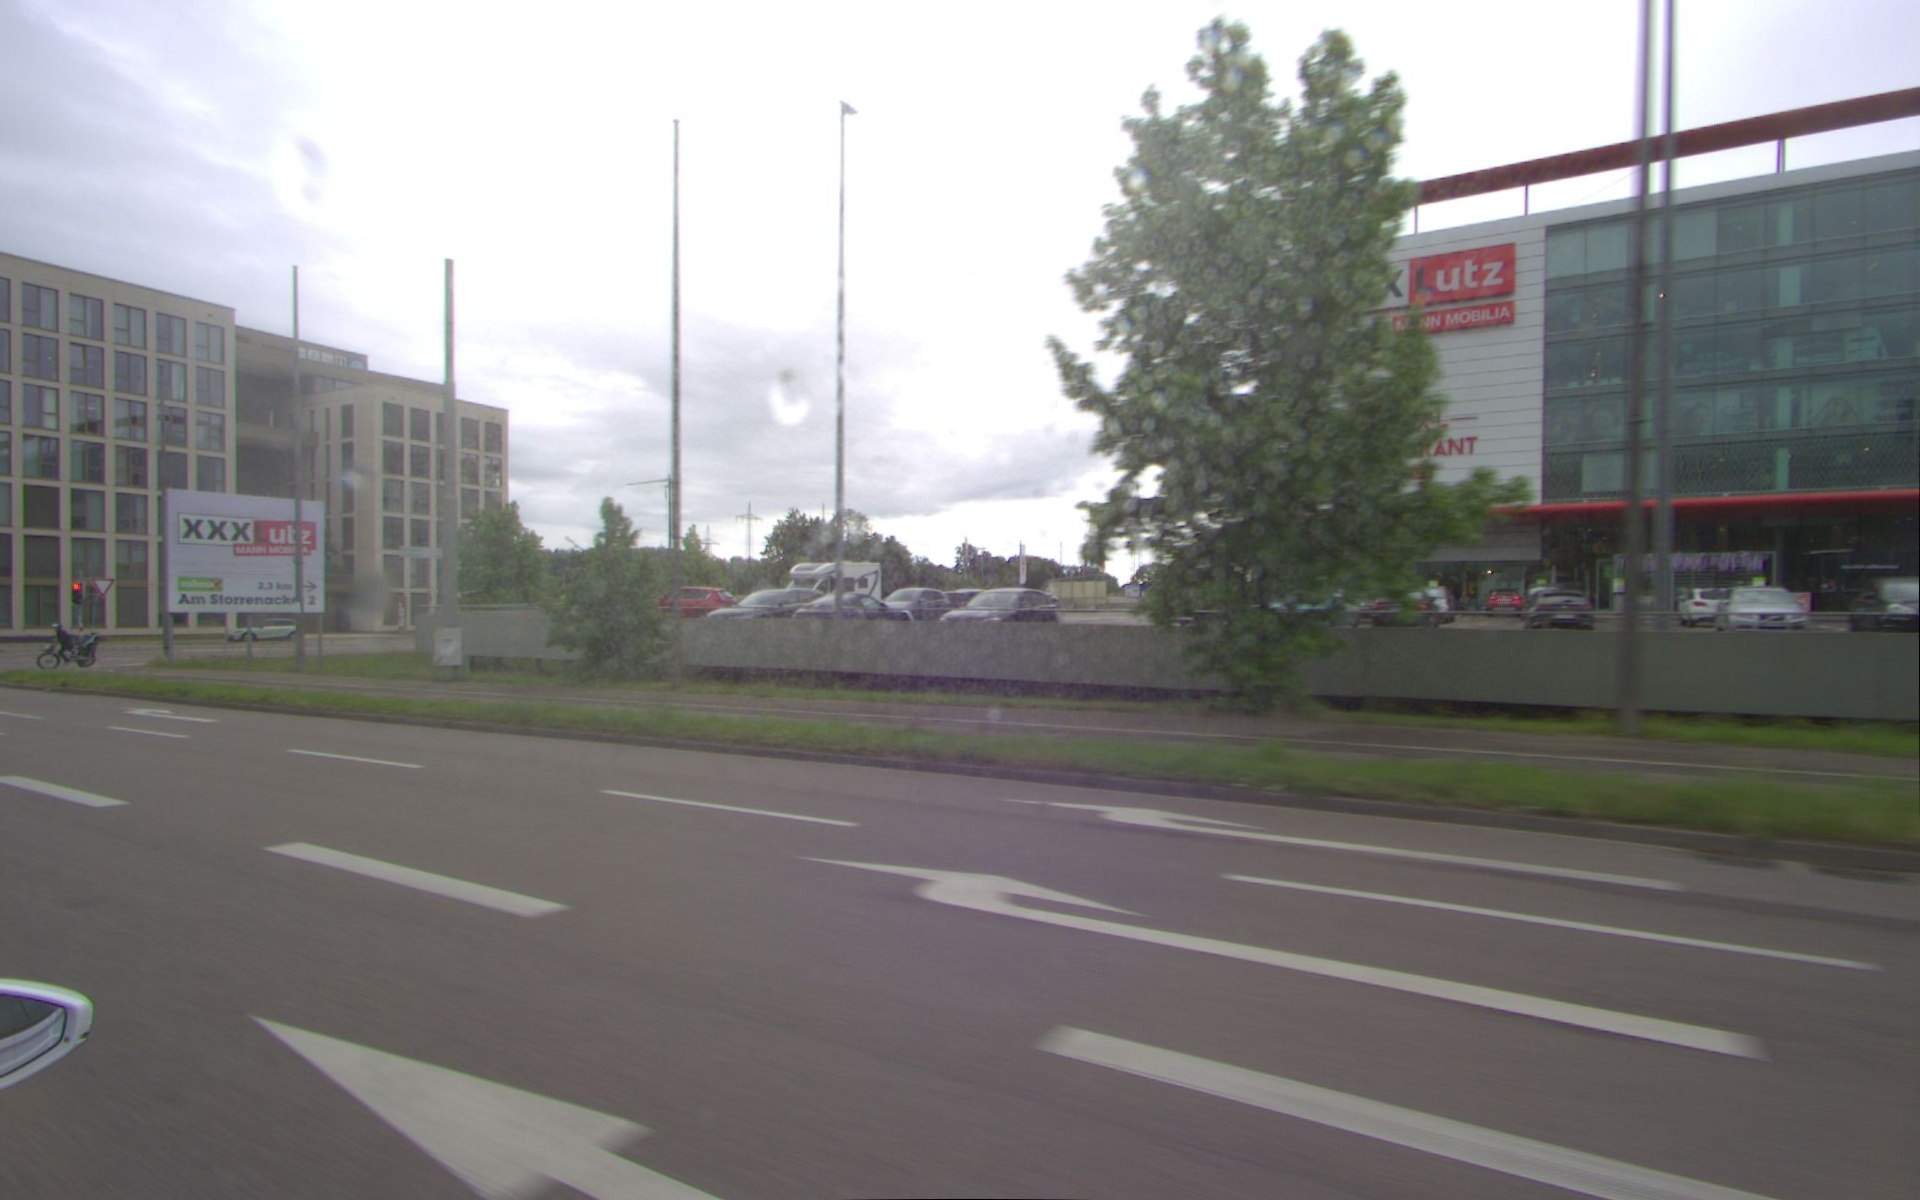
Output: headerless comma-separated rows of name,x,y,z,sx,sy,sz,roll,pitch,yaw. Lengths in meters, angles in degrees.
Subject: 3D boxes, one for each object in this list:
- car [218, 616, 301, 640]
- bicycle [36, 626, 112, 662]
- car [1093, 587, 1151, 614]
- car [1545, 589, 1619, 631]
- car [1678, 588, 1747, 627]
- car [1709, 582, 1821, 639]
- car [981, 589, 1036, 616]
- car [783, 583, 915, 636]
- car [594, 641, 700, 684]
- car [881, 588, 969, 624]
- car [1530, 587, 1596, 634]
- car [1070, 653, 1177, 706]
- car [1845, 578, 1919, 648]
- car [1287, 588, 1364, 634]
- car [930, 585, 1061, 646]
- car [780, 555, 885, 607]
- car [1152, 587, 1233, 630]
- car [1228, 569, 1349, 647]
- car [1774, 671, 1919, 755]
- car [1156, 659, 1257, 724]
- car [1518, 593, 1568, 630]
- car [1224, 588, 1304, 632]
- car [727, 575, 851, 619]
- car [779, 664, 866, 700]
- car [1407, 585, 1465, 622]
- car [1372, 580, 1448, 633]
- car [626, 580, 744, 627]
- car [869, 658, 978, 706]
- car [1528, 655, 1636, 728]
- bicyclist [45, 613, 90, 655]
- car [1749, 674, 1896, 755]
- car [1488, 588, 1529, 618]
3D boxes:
car,-45.906,1.828,65.691,1.669,1.510,4.186,2,0,32
bicycle,-32.574,1.617,36.844,1.974,1.312,0.701,1,-1,-13
car,12.315,0.053,76.094,3.937,1.884,1.897,2,0,28
car,25.541,0.377,41.242,1.775,1.602,3.812,2,1,20
car,28.716,0.307,38.298,1.676,1.412,3.680,2,0,31
car,23.769,0.331,29.720,1.819,1.539,4.225,2,0,29
car,3.099,0.192,63.649,1.839,1.598,3.981,0,-2,31
car,-3.045,0.283,28.227,1.694,1.369,3.919,1,0,30
car,-15.944,3.139,50.971,5.034,2.039,2.452,-1,-2,32
car,-1.347,0.259,40.233,1.725,1.333,4.105,2,0,28
car,19.299,0.358,31.971,1.676,1.374,3.625,2,0,33
car,4.886,2.277,29.464,1.738,1.367,4.049,-1,-2,31
car,23.715,0.347,24.770,1.971,1.613,4.359,2,1,32
car,13.200,0.393,36.031,1.758,1.528,3.835,1,0,33
car,0.978,0.390,25.177,1.694,1.402,3.869,2,0,29
car,-6.043,-0.865,48.036,2.135,2.240,4.999,2,0,35
car,8.955,0.319,38.373,1.759,1.528,3.834,1,0,34
car,7.324,0.179,22.074,1.784,1.545,4.065,1,0,29
car,15.176,1.851,17.076,1.493,1.146,3.510,-1,-2,30
car,8.170,2.945,32.917,1.972,1.855,4.360,-1,-2,32
car,26.687,0.536,45.904,1.673,1.552,3.632,2,0,26
car,11.331,0.383,37.200,1.759,1.528,3.834,1,0,34
car,-5.052,-0.061,30.059,1.694,1.192,3.688,1,0,30
car,-5.802,3.461,42.603,1.442,1.303,3.603,2,0,42
car,20.955,0.159,44.024,1.677,1.515,3.623,2,0,35
car,15.284,0.235,33.910,1.677,1.654,3.623,2,0,35
car,-11.037,0.136,40.337,4.181,1.702,1.840,2,0,6
car,-1.147,2.667,33.186,1.738,1.367,4.050,-1,-2,30
car,11.700,1.668,18.960,1.582,1.146,3.510,-1,-2,30
bicyclist,-32.791,1.256,36.791,0.982,1.523,0.701,1,-1,-13
car,18.243,2.352,21.366,1.738,1.367,4.048,-1,-2,32
car,30.191,0.178,55.181,1.681,1.518,3.633,2,0,25
